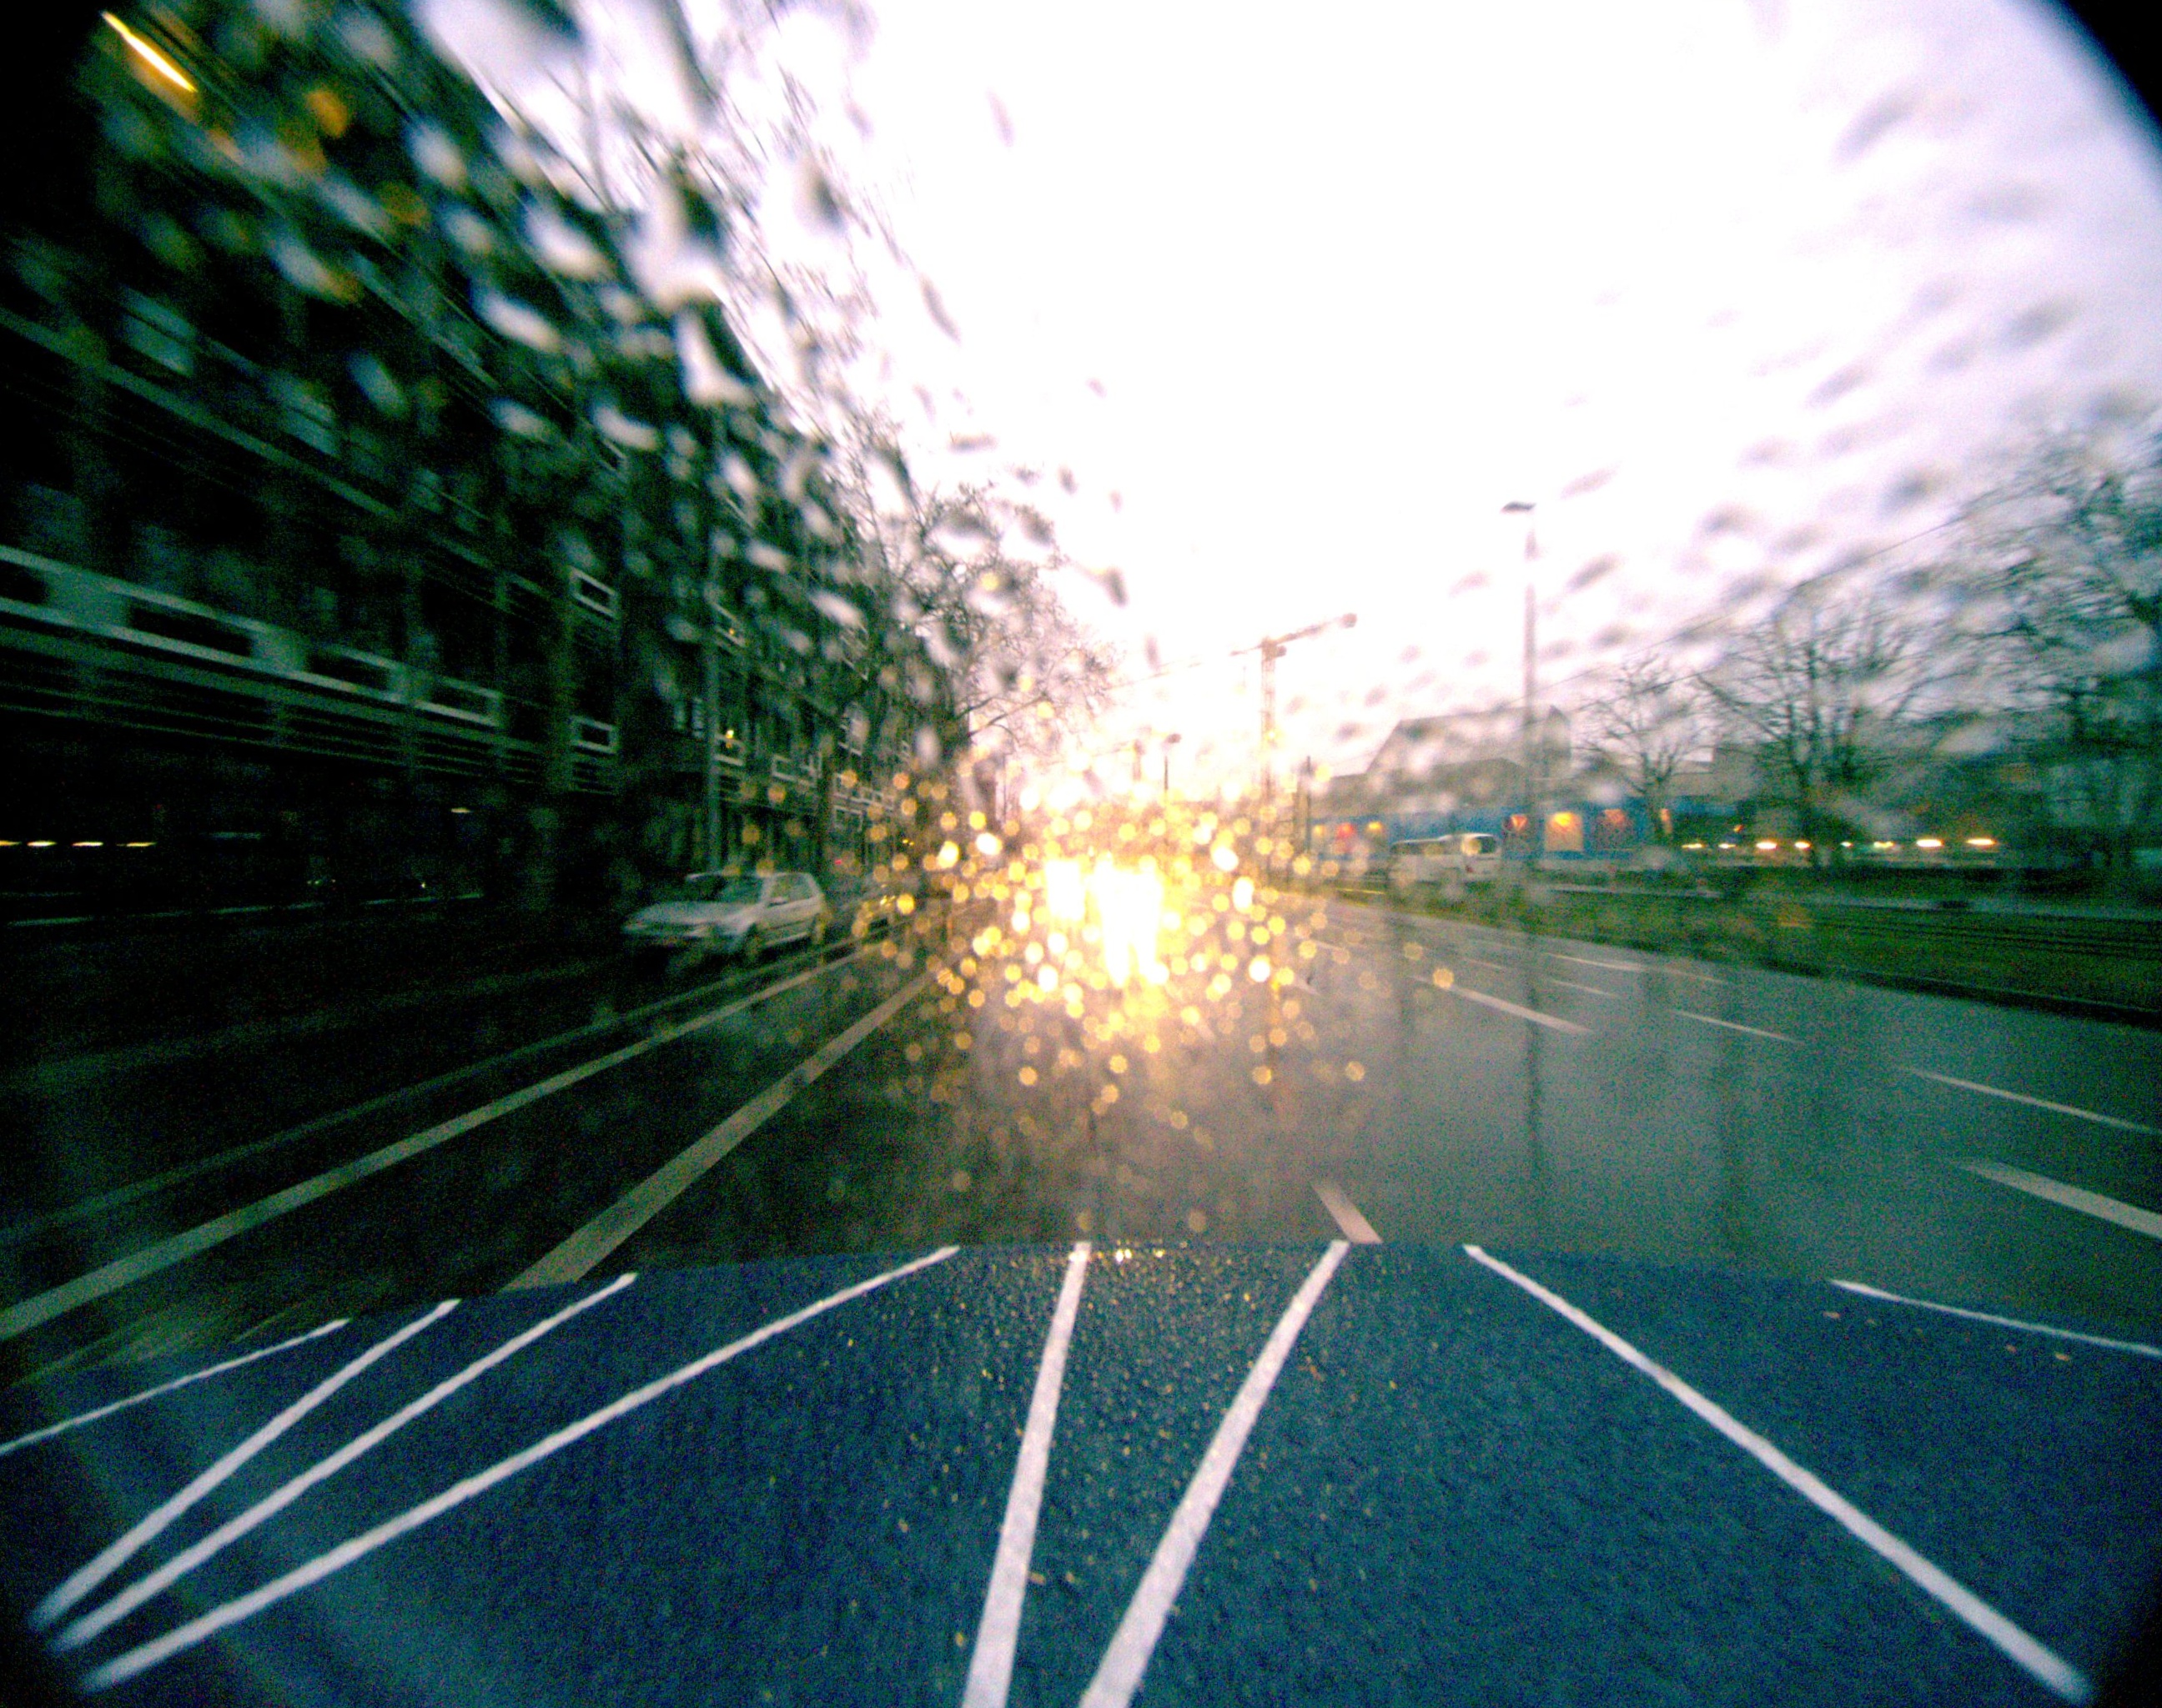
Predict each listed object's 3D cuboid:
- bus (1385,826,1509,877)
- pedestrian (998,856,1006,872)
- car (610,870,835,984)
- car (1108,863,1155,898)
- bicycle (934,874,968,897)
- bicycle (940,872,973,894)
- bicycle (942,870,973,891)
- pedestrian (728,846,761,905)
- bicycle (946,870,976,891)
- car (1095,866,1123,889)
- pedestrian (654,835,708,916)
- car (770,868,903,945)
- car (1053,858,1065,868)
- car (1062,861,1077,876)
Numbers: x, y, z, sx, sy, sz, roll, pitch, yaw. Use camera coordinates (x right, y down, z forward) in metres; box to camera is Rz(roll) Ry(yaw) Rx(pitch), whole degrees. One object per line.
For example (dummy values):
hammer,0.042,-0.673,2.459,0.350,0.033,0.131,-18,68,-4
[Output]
bus,27.688,-0.166,58.482,2.815,3.556,12.301,0,0,-5
pedestrian,-10.236,1.331,98.282,0.838,2.002,0.771,-2,1,1
car,-5.607,1.047,12.483,1.607,1.424,3.931,2,0,3
car,2.300,1.181,35.561,1.778,1.466,4.128,0,0,-2
bicycle,-6.116,1.468,35.827,1.523,1.030,0.469,-2,1,-6
bicycle,-6.122,1.439,37.427,1.523,1.030,0.469,-2,1,-6
bicycle,-6.283,1.351,38.701,1.523,1.030,0.469,-2,1,-6
pedestrian,-11.469,0.731,25.916,0.822,2.002,0.736,0,0,-1
bicycle,-6.340,1.391,40.138,1.523,1.030,0.469,-2,1,-6
car,1.919,1.618,53.298,1.855,1.466,4.130,0,0,1
pedestrian,-10.053,0.529,19.132,0.791,2.002,1.024,0,0,1
car,-5.561,1.139,17.826,1.764,1.539,4.019,0,0,1
car,-3.852,1.638,135.401,1.858,1.591,4.001,-1,-1,2
car,-1.608,2.055,107.857,1.858,2.001,4.002,-1,-1,2
